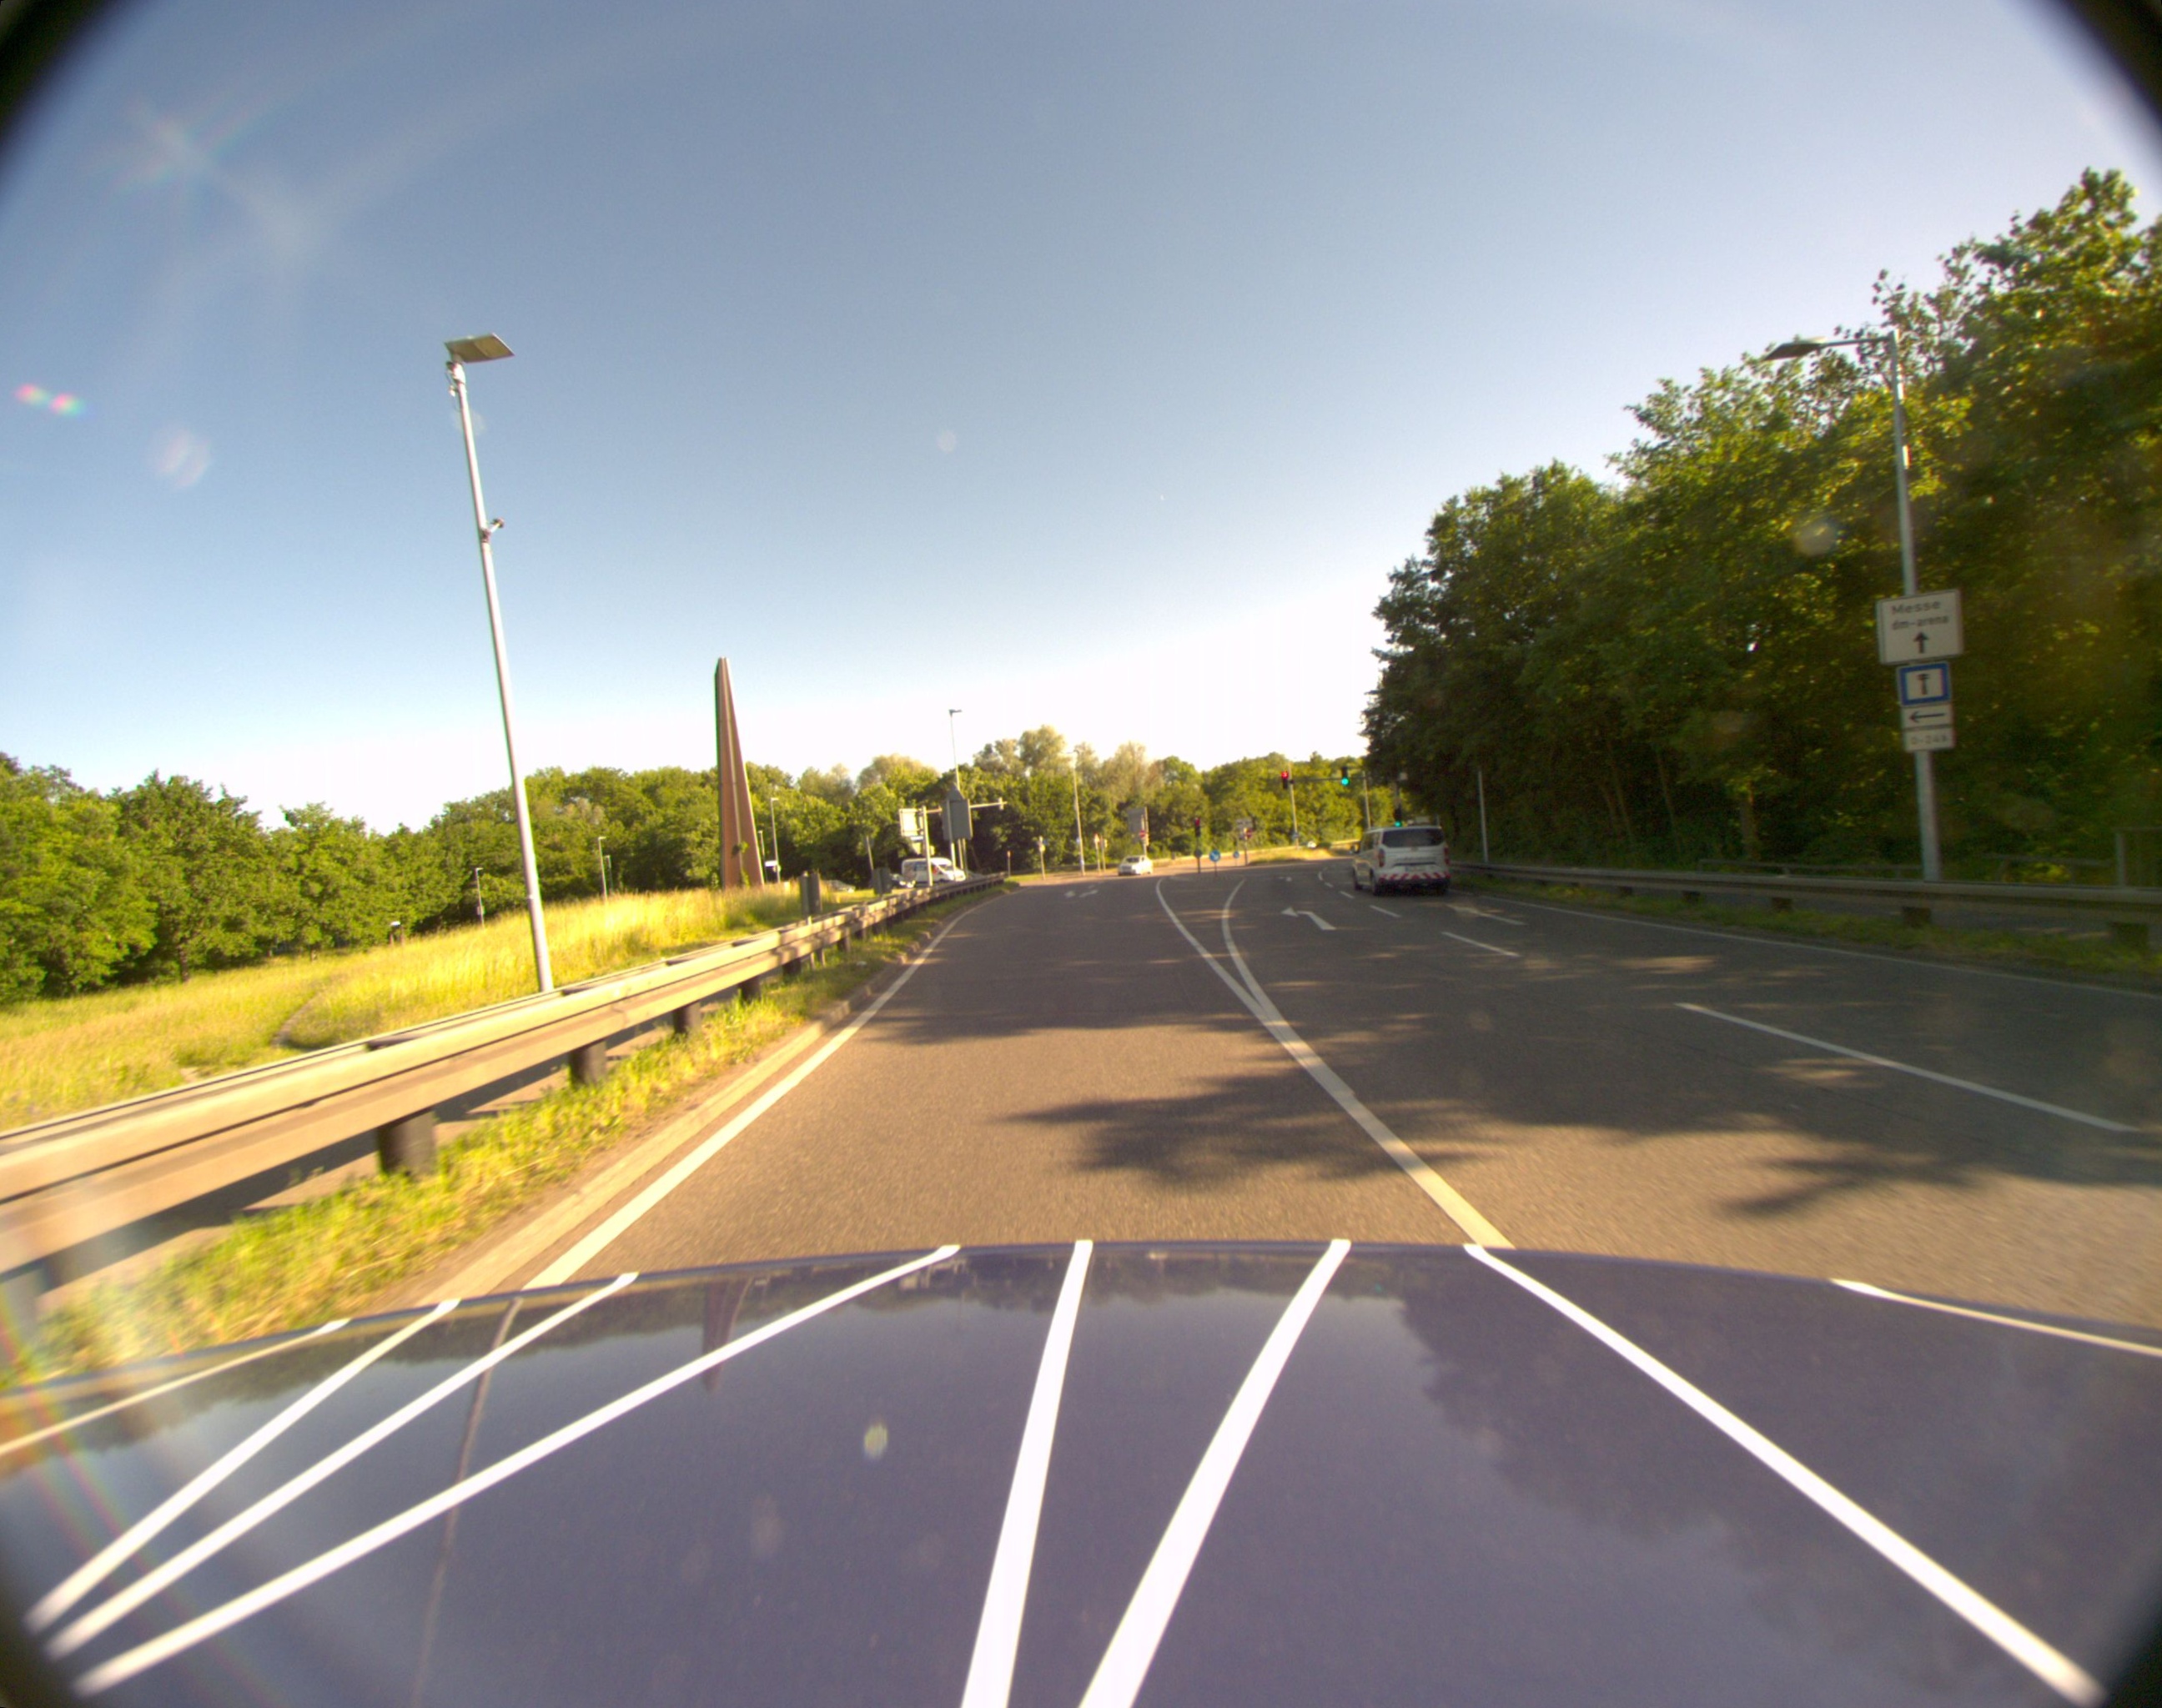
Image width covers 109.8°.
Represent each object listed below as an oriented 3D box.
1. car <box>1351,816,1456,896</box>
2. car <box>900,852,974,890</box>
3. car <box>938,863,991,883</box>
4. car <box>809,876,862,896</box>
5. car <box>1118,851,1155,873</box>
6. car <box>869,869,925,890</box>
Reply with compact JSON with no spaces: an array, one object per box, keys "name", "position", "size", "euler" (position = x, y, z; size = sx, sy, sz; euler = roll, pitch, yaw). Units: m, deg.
[{"name":"car","position":[9.577,0.030,23.043],"size":[1.952,2.100,5.275],"euler":[-2,1,12]},{"name":"car","position":[-11.440,1.372,60.142],"size":[5.692,2.484,2.118],"euler":[-5,0,33]},{"name":"car","position":[-9.744,1.617,63.442],"size":[4.078,1.431,1.772],"euler":[-3,1,31]},{"name":"car","position":[-19.709,2.566,60.937],"size":[4.279,1.383,1.651],"euler":[-3,1,32]},{"name":"car","position":[4.228,0.553,57.198],"size":[1.762,1.428,4.335],"euler":[-3,0,18]},{"name":"car","position":[-13.968,1.928,57.565],"size":[3.978,1.405,1.848],"euler":[-3,1,34]}]
